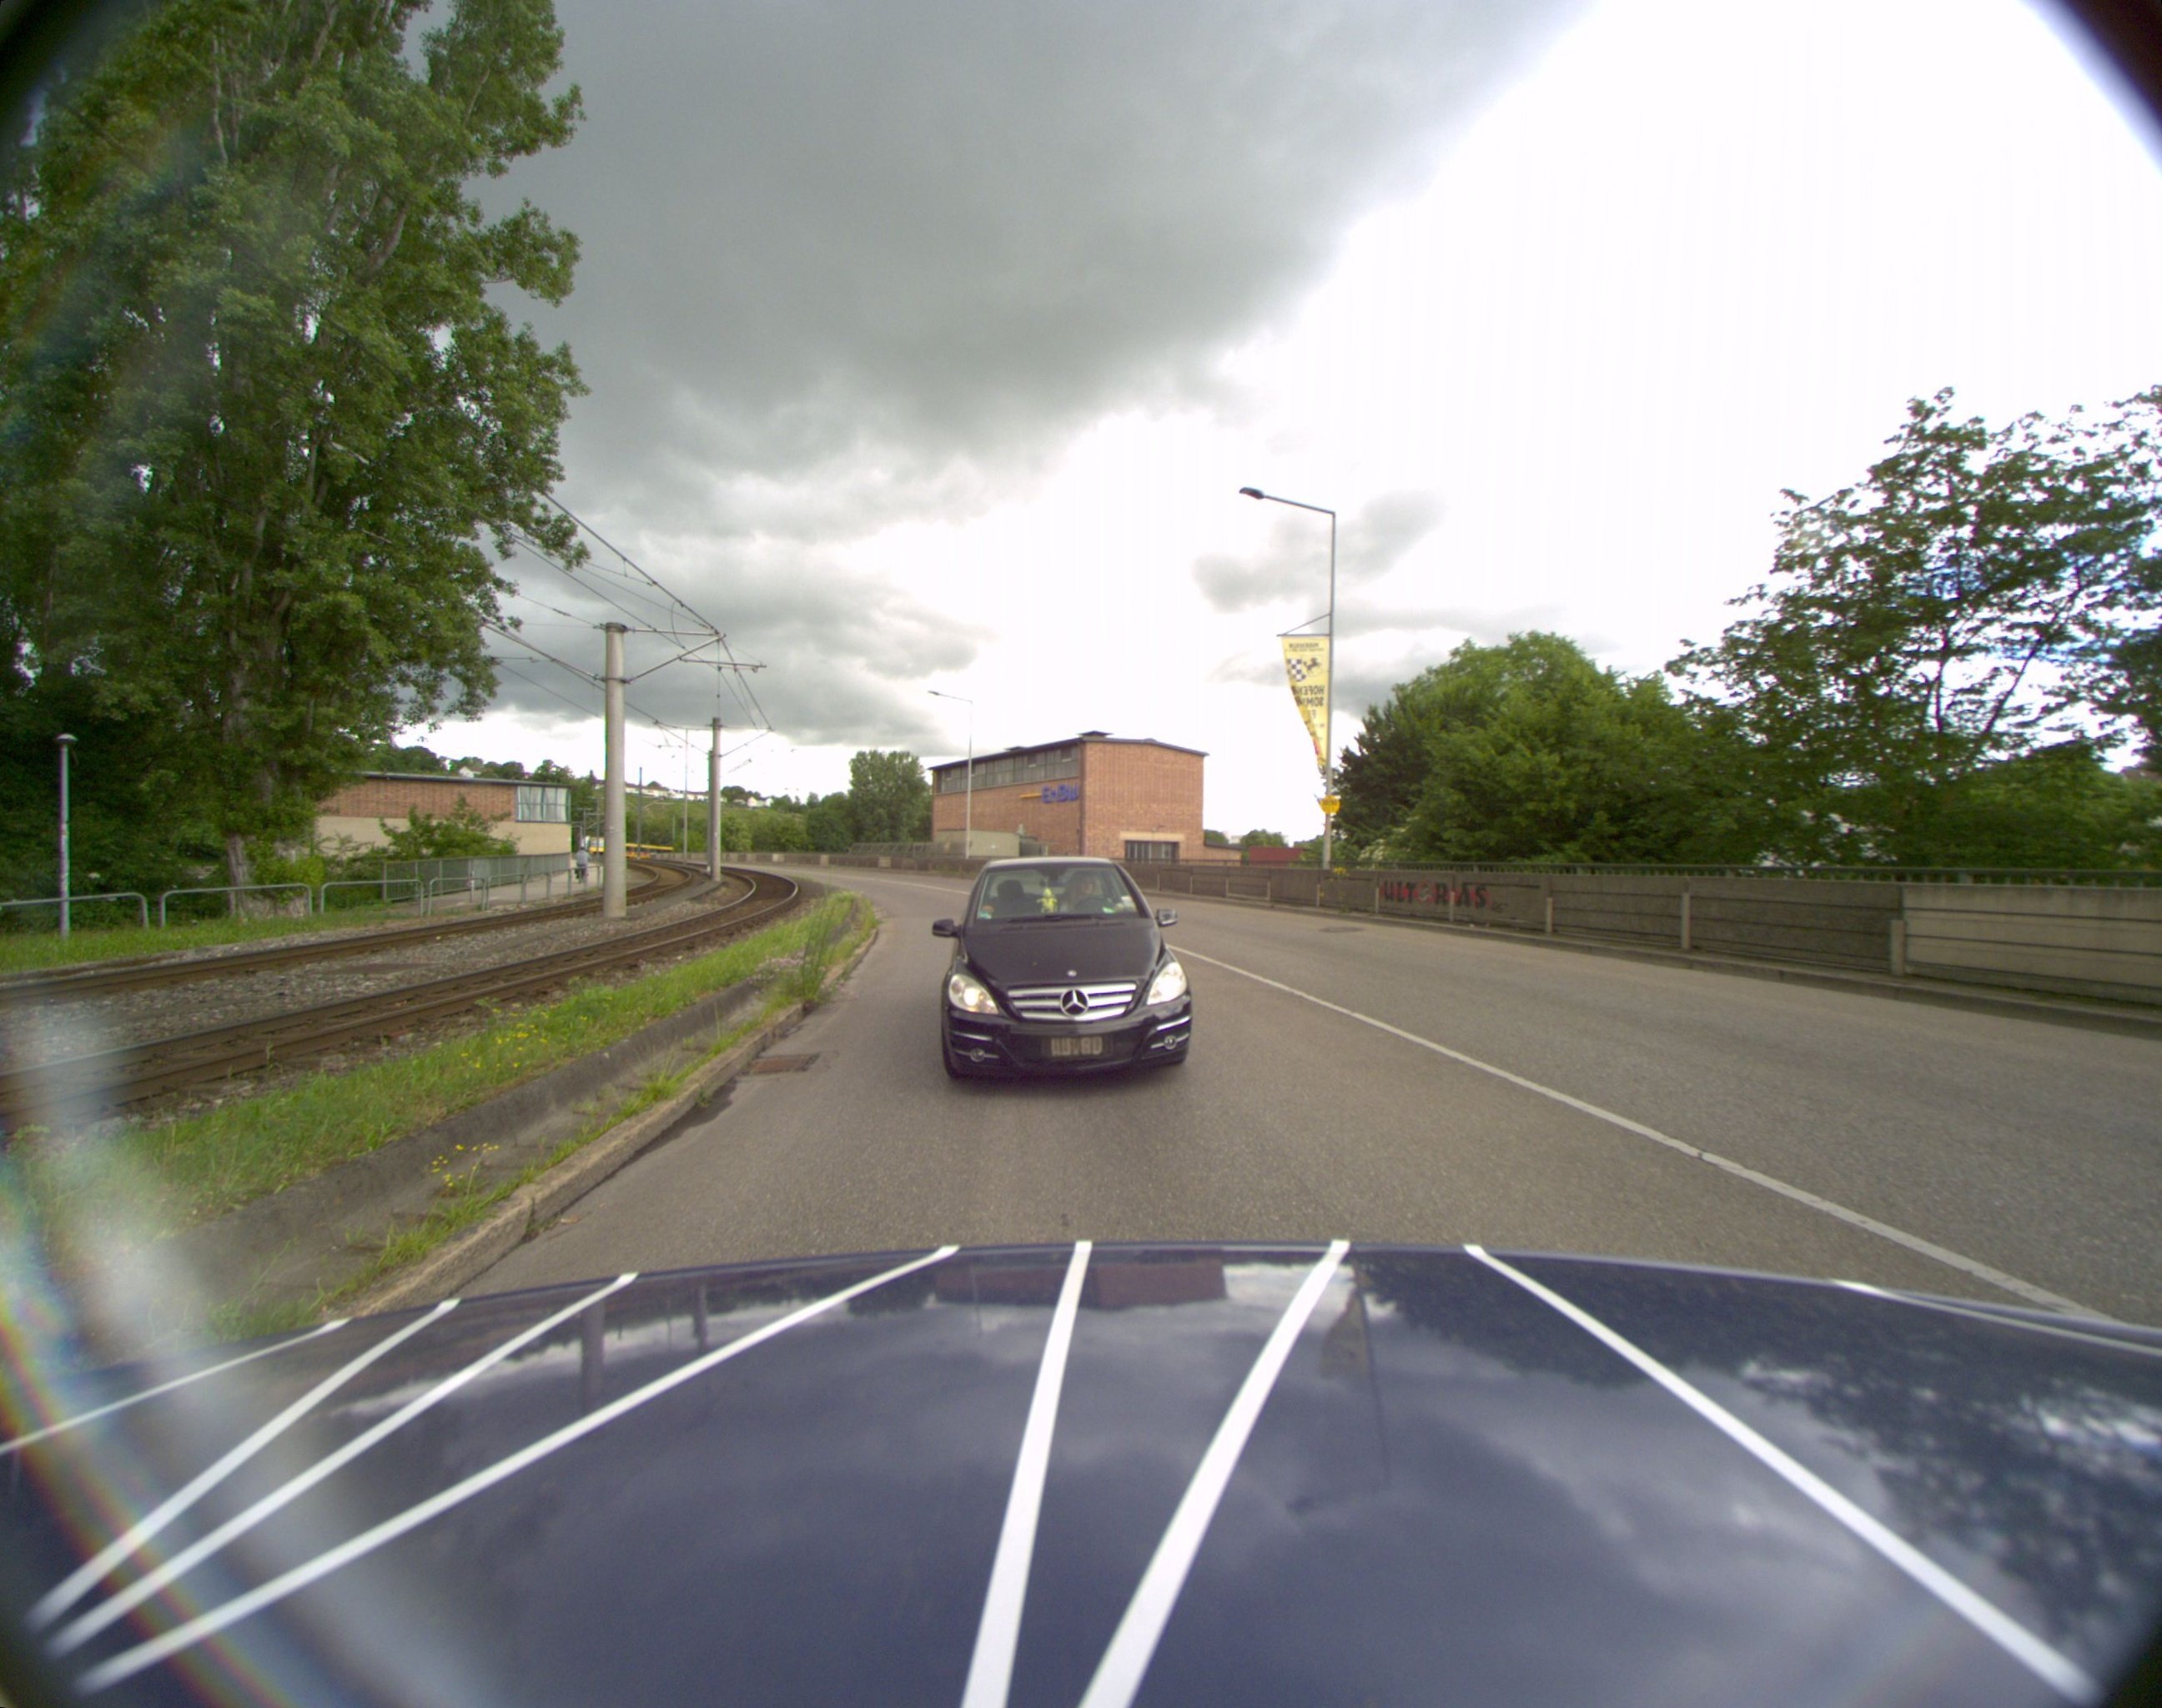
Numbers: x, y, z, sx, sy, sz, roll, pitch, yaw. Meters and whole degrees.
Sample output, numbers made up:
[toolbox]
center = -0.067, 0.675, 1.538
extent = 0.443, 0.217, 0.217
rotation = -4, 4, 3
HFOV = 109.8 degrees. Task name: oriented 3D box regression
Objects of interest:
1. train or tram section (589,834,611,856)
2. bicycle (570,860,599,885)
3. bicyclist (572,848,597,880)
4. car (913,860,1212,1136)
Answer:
[train or tram section]
center = -88.287, -1.703, 139.390
extent = 3.038, 3.896, 9.417
rotation = 0, 1, -34
[bicycle]
center = -21.581, 0.779, 33.064
extent = 0.427, 1.044, 2.077
rotation = -1, 0, -15
[bicyclist]
center = -21.589, 0.442, 33.052
extent = 0.596, 1.352, 0.909
rotation = -1, 1, -16
[car]
center = -0.199, 0.916, 6.747
extent = 1.861, 1.612, 3.998
rotation = 0, 1, -3
